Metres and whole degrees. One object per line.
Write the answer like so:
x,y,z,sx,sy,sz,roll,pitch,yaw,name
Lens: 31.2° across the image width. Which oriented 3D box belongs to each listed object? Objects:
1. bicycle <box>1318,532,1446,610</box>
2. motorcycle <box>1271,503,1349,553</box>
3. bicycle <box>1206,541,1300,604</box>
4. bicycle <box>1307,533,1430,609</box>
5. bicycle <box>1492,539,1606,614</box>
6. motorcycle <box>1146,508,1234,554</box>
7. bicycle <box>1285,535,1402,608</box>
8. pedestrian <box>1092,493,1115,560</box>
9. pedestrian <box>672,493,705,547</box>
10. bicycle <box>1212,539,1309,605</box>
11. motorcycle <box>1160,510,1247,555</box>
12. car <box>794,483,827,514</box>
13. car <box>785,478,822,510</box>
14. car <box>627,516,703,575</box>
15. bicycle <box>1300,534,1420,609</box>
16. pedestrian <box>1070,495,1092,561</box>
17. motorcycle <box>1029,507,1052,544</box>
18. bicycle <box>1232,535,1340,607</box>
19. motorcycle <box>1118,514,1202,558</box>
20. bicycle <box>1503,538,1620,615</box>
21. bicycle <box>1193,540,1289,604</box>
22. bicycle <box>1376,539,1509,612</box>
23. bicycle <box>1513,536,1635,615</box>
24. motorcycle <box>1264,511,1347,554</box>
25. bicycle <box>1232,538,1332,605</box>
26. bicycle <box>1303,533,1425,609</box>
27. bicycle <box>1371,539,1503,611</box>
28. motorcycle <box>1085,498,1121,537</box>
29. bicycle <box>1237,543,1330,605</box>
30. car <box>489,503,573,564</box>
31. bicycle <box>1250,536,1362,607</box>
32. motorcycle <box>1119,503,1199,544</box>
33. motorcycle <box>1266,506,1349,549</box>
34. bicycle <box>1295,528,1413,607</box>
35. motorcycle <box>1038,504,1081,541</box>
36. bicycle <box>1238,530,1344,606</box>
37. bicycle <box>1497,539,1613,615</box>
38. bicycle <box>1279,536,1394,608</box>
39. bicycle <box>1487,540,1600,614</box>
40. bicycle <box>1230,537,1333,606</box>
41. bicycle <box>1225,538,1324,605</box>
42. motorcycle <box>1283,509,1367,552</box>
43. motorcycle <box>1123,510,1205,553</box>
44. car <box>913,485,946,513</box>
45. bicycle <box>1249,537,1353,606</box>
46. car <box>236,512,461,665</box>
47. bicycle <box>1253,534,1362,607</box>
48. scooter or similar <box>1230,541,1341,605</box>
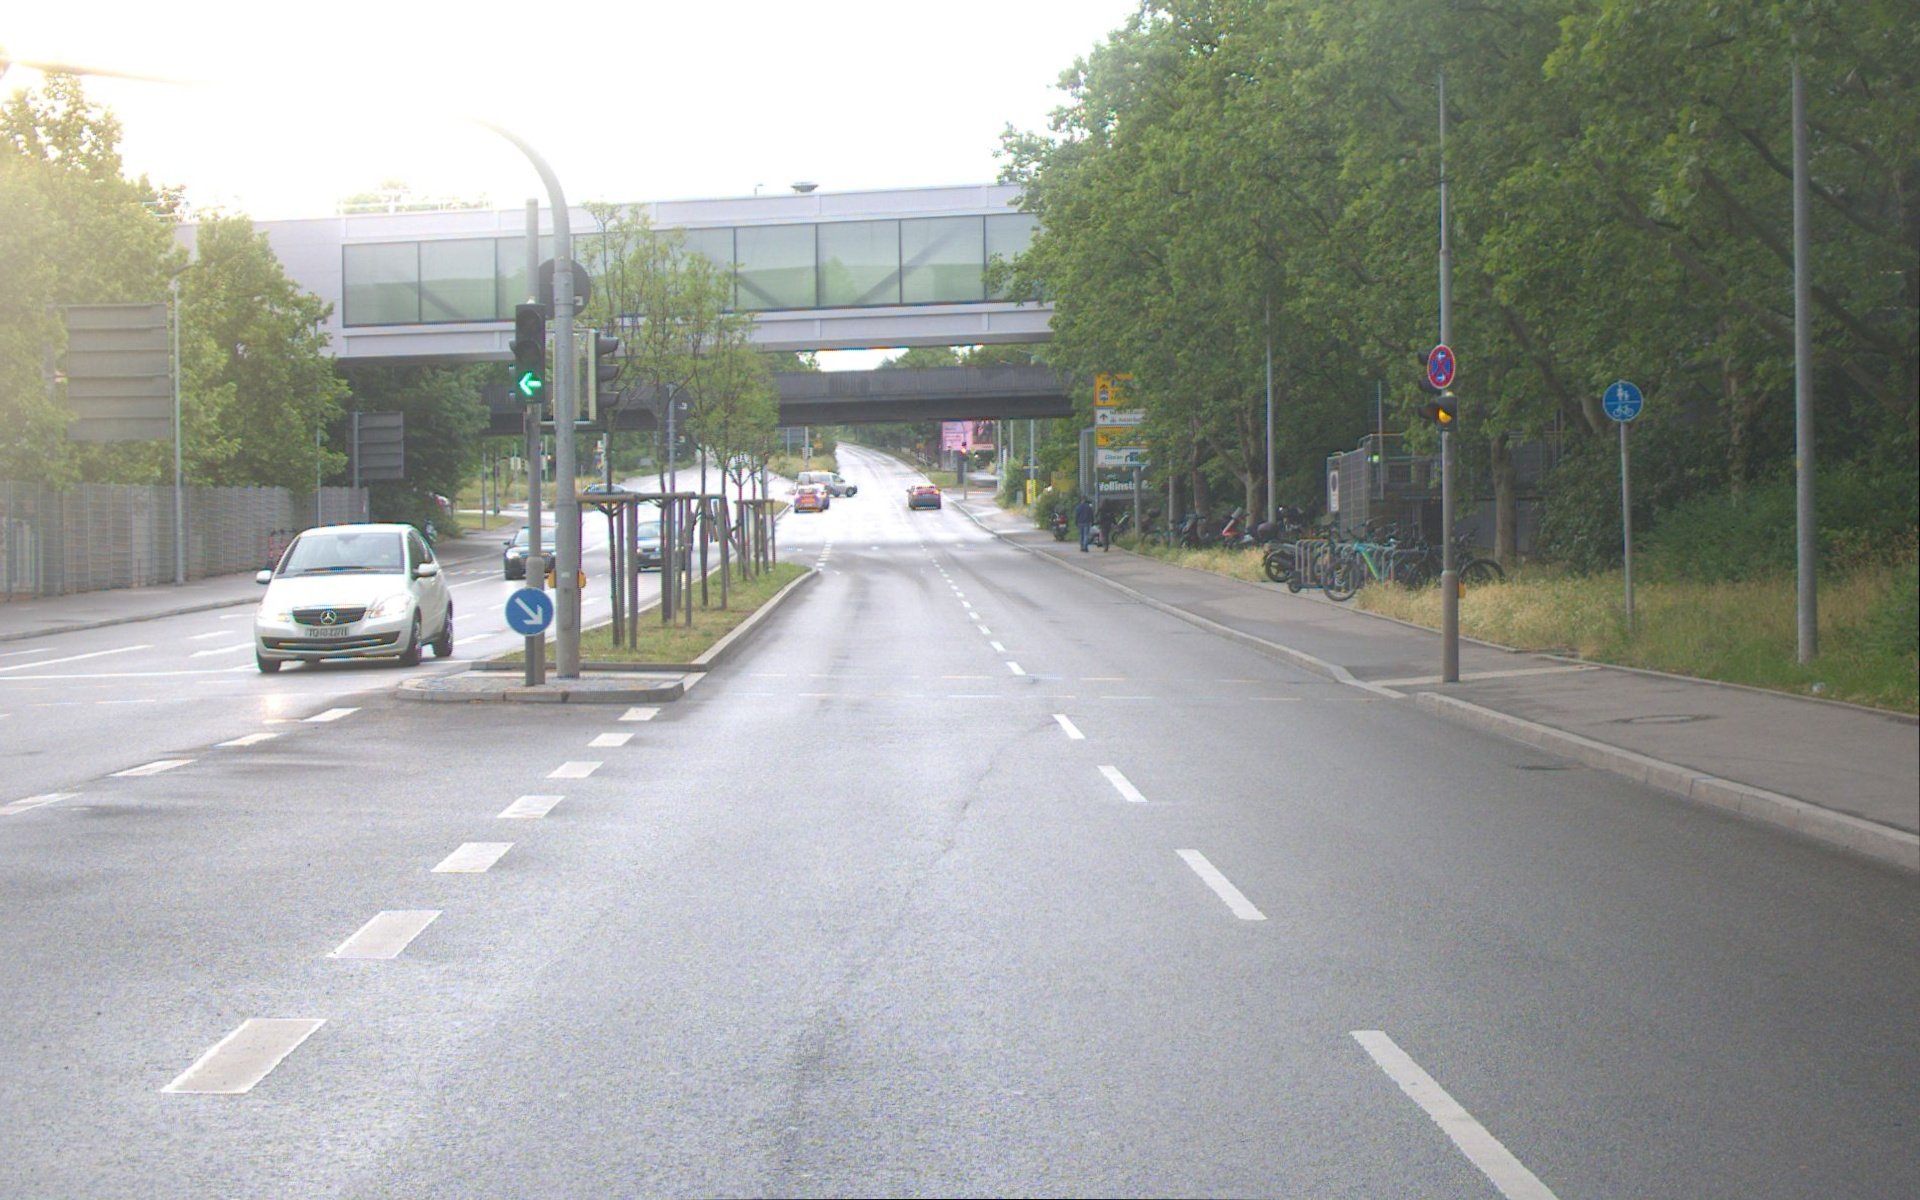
6.891,-0.478,56.203,1.990,1.212,0.541,2,0,0,bicycle
10.937,-2.251,107.348,2.369,1.471,0.722,-1,1,7,motorcycle
6.357,-0.598,74.691,1.963,1.324,0.654,2,0,0,bicycle
6.932,-0.491,58.393,1.990,1.229,0.541,2,0,0,bicycle
10.893,-0.427,63.604,1.990,1.324,0.576,2,0,0,bicycle
6.362,-1.899,95.046,2.369,1.198,0.722,-1,1,7,motorcycle
6.818,-0.505,61.162,1.990,1.237,0.541,2,0,0,bicycle
4.383,-2.234,104.776,0.622,2.007,0.605,-2,1,0,pedestrian
-10.327,-3.045,130.825,0.873,1.997,0.853,-1,1,28,pedestrian
6.378,-0.592,72.972,1.963,1.324,0.654,2,0,0,bicycle
6.884,-1.903,97.207,2.369,1.198,0.722,-1,1,7,motorcycle
-9.259,-6.291,213.132,1.884,1.756,3.969,2,0,0,car
-9.405,-6.347,206.977,1.993,1.756,4.000,2,0,0,car
-8.460,-1.570,98.840,1.877,1.619,3.779,-1,1,0,car
6.941,-0.498,59.757,1.990,1.237,0.541,2,0,0,bicycle
3.701,-2.211,105.230,0.622,2.007,0.605,-2,1,0,pedestrian
3.400,-3.132,144.956,0.790,1.528,2.377,-2,1,-2,motorcycle
6.276,-0.565,66.200,1.990,1.324,0.576,2,0,0,bicycle
5.826,-1.870,100.079,2.369,1.198,0.722,-1,1,7,motorcycle
10.893,-0.423,62.260,1.990,1.324,0.576,2,0,0,bicycle
6.036,-0.604,73.886,1.963,1.324,0.654,2,0,0,bicycle
7.595,-0.391,54.176,1.990,1.091,0.541,2,0,0,bicycle
10.746,-0.422,60.168,1.990,1.324,0.576,2,0,0,bicycle
10.104,-1.979,100.491,2.369,1.198,0.722,-1,1,7,motorcycle
6.610,-0.580,70.680,1.960,1.324,0.576,2,0,0,bicycle
6.939,-0.496,59.069,1.990,1.237,0.541,2,0,0,bicycle
7.589,-0.393,54.745,1.990,1.091,0.541,2,0,0,bicycle
5.025,-2.894,120.884,0.790,1.307,2.377,-2,1,-9,motorcycle
7.164,-0.578,76.193,1.963,1.324,0.654,2,0,0,bicycle
-11.904,-1.859,95.624,1.877,1.619,3.779,-1,1,0,car
6.389,-0.524,63.485,1.990,1.237,0.541,2,0,0,bicycle
6.159,-2.380,106.353,2.369,1.198,0.722,-1,1,7,motorcycle
10.270,-2.136,101.576,2.369,1.198,0.722,-1,1,7,motorcycle
6.923,-0.567,60.470,1.990,1.336,0.541,2,0,0,bicycle
3.626,-2.834,125.660,0.790,1.307,2.377,-2,1,-19,motorcycle
6.529,-0.625,67.877,1.990,1.425,0.723,2,0,0,bicycle
10.886,-0.425,62.926,1.990,1.324,0.576,2,0,0,bicycle
6.803,-0.508,62.111,1.990,1.237,0.541,2,0,0,bicycle
10.896,-0.428,64.228,1.990,1.324,0.576,2,0,0,bicycle
6.483,-0.568,69.442,1.990,1.324,0.576,2,0,0,bicycle
6.515,-0.584,71.370,1.963,1.324,0.654,2,0,0,bicycle
10.546,-2.006,99.209,2.369,1.198,0.722,-1,1,7,motorcycle
6.040,-2.029,101.849,2.369,1.198,0.722,-1,1,7,motorcycle
-1.791,-5.938,203.214,1.875,1.492,4.068,2,0,0,car
6.819,-0.568,68.731,1.990,1.324,0.576,2,0,0,bicycle
-6.878,-0.163,39.016,1.877,1.619,3.779,-1,1,0,car
6.608,-0.554,65.391,1.990,1.324,0.576,2,0,0,bicycle
6.083,-0.498,64.278,1.990,1.134,0.541,2,0,0,scooter or similar
